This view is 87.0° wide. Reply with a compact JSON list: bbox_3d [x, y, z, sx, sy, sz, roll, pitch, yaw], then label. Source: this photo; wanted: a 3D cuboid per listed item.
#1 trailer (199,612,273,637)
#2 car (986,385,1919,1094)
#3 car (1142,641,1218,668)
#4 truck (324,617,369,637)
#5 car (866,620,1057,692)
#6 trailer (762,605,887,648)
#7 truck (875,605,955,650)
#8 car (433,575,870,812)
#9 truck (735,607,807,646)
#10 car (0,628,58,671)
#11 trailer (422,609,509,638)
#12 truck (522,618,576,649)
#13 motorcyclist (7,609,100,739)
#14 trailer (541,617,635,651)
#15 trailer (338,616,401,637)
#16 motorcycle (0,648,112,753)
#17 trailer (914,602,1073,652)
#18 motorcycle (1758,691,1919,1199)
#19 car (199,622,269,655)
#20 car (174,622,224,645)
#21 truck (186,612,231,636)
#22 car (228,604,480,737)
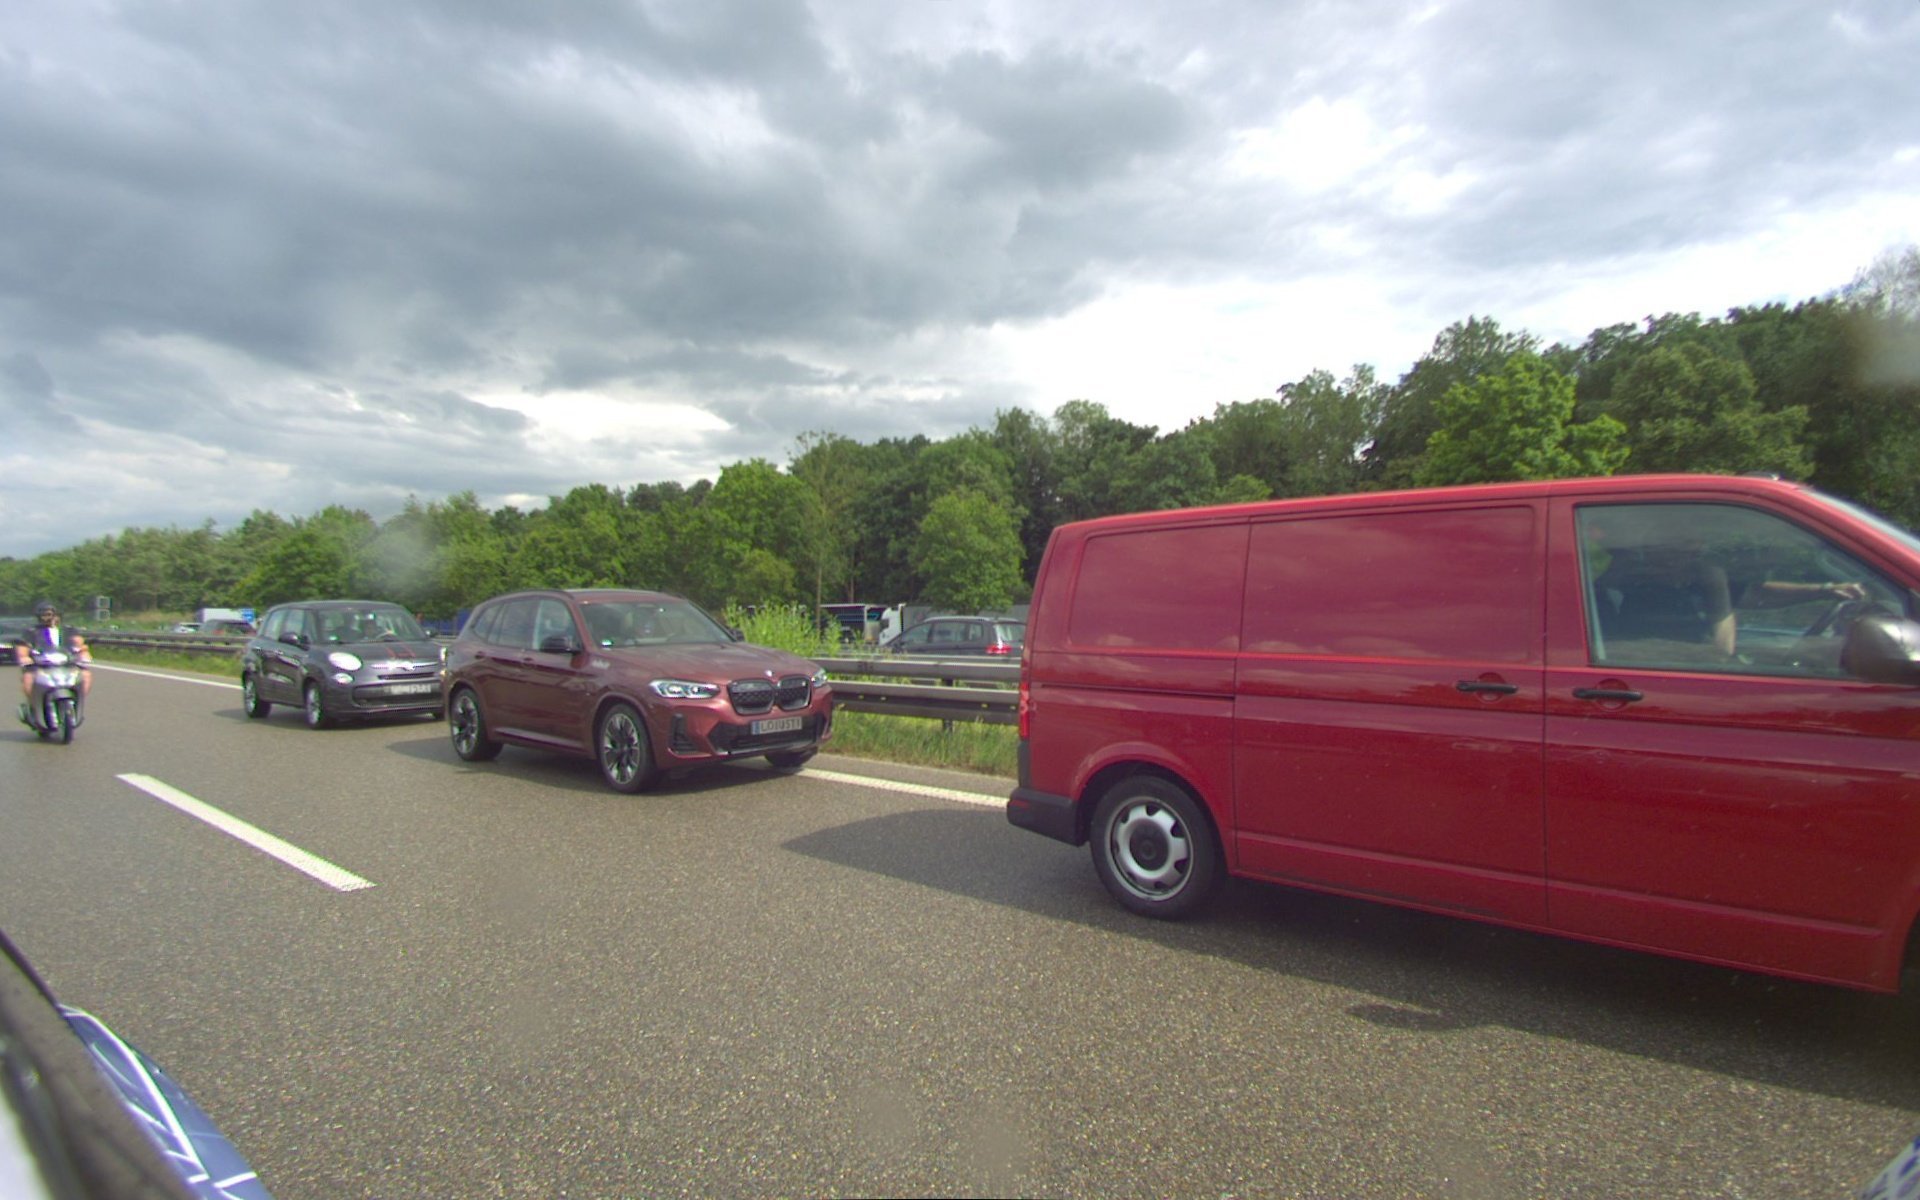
[{"bbox_3d":[-103.654,3.499,144.772,13.355,3.539,2.681,-1,-2,27],"label":"trailer"},{"bbox_3d":[2.540,0.408,4.241,4.748,2.000,1.870,-1,-1,41],"label":"car"},{"bbox_3d":[12.844,3.167,59.265,1.873,1.514,4.002,2,-2,-45],"label":"car"},{"bbox_3d":[-80.697,3.492,133.034,5.965,2.590,2.496,-1,-1,30],"label":"truck"},{"bbox_3d":[-0.021,1.180,22.677,3.998,1.464,1.973,-1,-2,41],"label":"car"},{"bbox_3d":[-11.336,2.176,83.206,12.642,3.296,2.577,-1,-2,41],"label":"trailer"},{"bbox_3d":[-3.400,2.067,75.723,5.597,3.208,3.009,-1,-2,43],"label":"truck"},{"bbox_3d":[-2.994,0.696,9.324,4.292,1.682,1.870,-1,-1,41],"label":"car"},{"bbox_3d":[-16.419,2.273,87.675,6.533,3.275,2.548,-1,-2,41],"label":"truck"},{"bbox_3d":[-30.339,1.555,32.424,3.998,1.245,1.653,-1,0,41],"label":"car"},{"bbox_3d":[-58.490,2.792,119.552,13.377,3.296,3.050,-1,-2,35],"label":"trailer"},{"bbox_3d":[-44.441,3.579,109.501,5.386,3.280,3.142,-1,-3,39],"label":"truck"},{"bbox_3d":[-10.786,0.846,12.039,1.019,1.453,0.664,-1,0,38],"label":"motorcyclist"},{"bbox_3d":[-38.657,3.477,104.820,12.633,3.296,3.153,-1,-2,39],"label":"trailer"},{"bbox_3d":[-76.039,3.437,130.341,9.840,2.594,2.511,-1,-1,30],"label":"trailer"},{"bbox_3d":[-10.780,1.148,12.039,1.979,1.095,0.669,-1,0,39],"label":"motorcycle"},{"bbox_3d":[2.098,1.891,70.541,12.174,3.217,2.986,-1,-2,43],"label":"trailer"},{"bbox_3d":[1.817,0.755,0.548,2.113,1.272,0.812,-1,0,37],"label":"motorcycle"},{"bbox_3d":[-34.006,1.760,47.369,3.998,1.464,1.783,-1,-2,41],"label":"car"},{"bbox_3d":[-49.637,2.185,65.995,3.780,1.464,1.783,-1,-2,41],"label":"car"},{"bbox_3d":[-109.979,3.568,148.051,6.309,3.509,2.674,-1,-2,27],"label":"truck"},{"bbox_3d":[-8.519,0.871,14.097,4.051,1.578,1.870,-1,-1,41],"label":"car"}]
